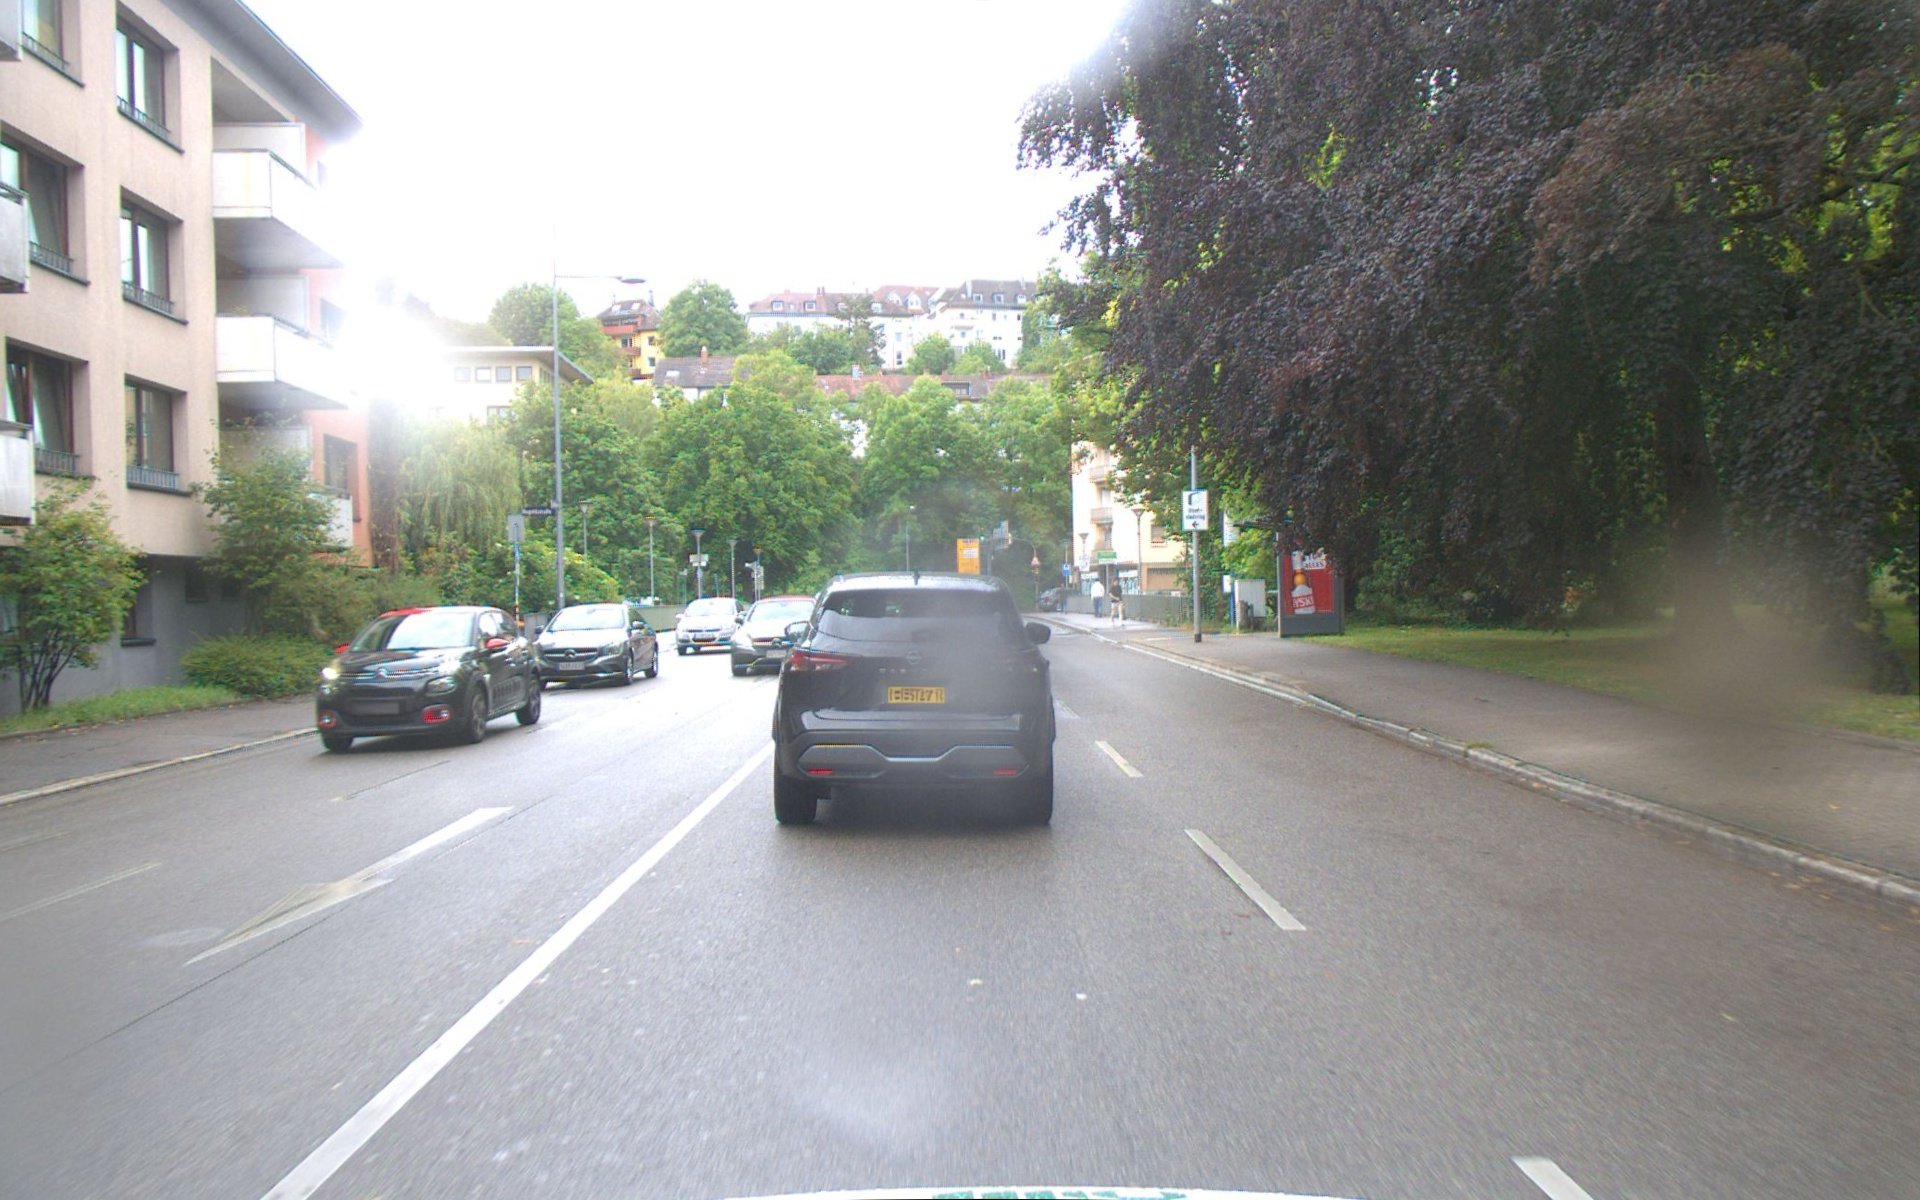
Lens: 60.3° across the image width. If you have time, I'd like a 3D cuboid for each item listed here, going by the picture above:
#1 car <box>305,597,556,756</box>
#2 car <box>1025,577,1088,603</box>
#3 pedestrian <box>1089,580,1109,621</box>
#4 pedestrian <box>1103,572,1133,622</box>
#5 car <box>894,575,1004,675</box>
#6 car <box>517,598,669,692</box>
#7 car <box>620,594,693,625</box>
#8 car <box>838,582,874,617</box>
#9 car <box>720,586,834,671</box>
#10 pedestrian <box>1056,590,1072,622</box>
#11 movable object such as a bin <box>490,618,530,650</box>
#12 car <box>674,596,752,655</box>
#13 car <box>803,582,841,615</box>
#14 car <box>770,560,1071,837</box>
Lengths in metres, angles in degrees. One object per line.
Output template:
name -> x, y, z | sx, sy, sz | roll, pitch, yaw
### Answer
car -> -6.002, 0.794, 19.216 | 1.652, 1.517, 3.889 | -3, 1, -1
car -> 7.193, -0.767, 123.015 | 4.315, 1.678, 1.867 | -3, 0, -27
pedestrian -> 6.286, 0.025, 74.804 | 0.764, 1.783, 1.060 | -2, 0, -1
pedestrian -> 5.596, -0.117, 58.612 | 0.830, 1.705, 1.167 | -4, 0, -1
car -> -0.203, 0.388, 28.791 | 1.774, 1.631, 3.999 | 0, 0, -1
car -> -6.649, 0.761, 30.437 | 1.776, 1.440, 4.682 | -3, 1, -1
car -> -19.995, 0.617, 109.092 | 4.655, 1.886, 1.996 | -1, 2, -10
car -> -7.605, -0.079, 121.797 | 2.243, 2.348, 6.508 | -3, 1, -1
car -> -3.492, 0.497, 32.280 | 1.757, 1.440, 4.334 | -3, 1, -1
pedestrian -> 5.692, 0.335, 90.803 | 0.745, 1.706, 0.781 | -3, 0, -1
movable object such as a bin -> -13.188, 1.002, 48.499 | 0.946, 0.892, 0.832 | -2, 0, -1
car -> -6.775, 0.669, 45.635 | 1.778, 1.440, 4.045 | -3, 1, -4
car -> -7.160, -0.093, 86.062 | 1.777, 1.606, 4.229 | -3, 1, -3
car -> -0.261, 0.563, 11.825 | 1.774, 1.631, 3.999 | 0, 0, -1
